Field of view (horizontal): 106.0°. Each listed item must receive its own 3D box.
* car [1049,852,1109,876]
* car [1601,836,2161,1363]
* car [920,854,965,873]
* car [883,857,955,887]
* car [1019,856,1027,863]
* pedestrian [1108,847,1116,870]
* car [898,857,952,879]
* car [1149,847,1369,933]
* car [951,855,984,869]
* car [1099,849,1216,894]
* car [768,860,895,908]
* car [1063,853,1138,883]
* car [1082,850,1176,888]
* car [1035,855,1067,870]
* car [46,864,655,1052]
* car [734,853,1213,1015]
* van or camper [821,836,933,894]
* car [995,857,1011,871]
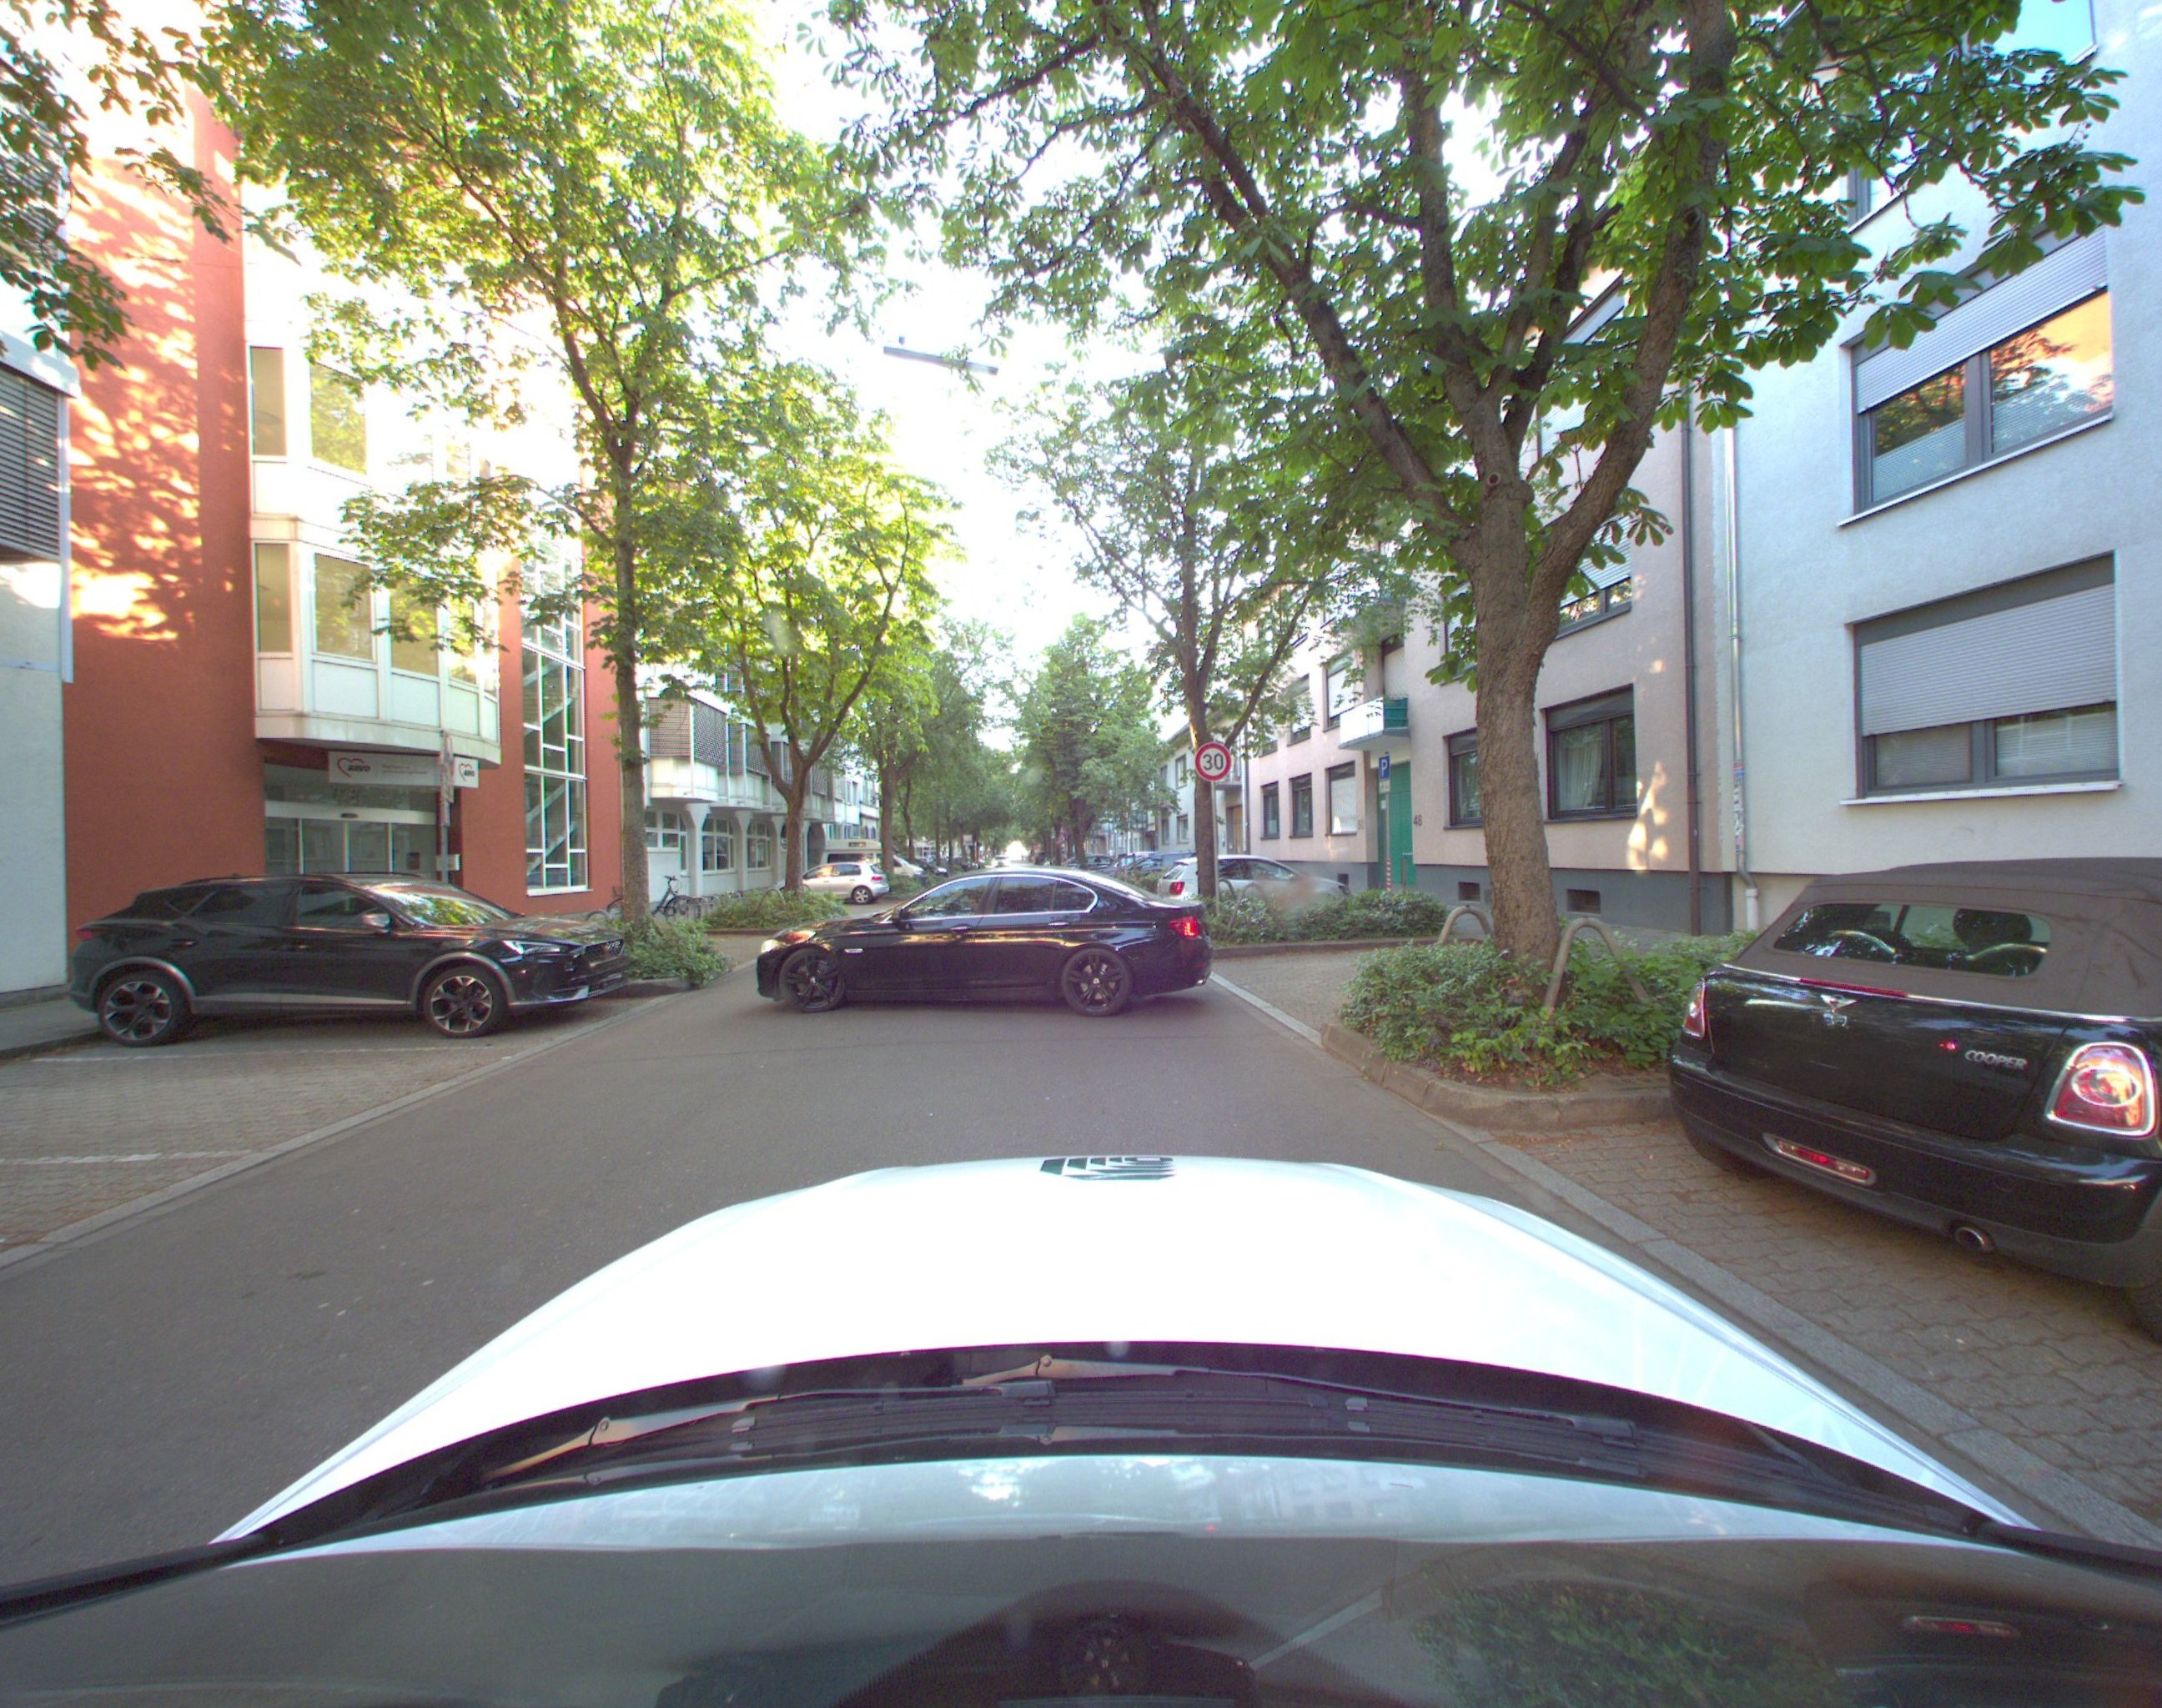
[{"bbox_3d":[-0.162,0.660,56.985,3.963,1.527,1.781,-2,0,-6],"label":"car"},{"bbox_3d":[4.351,0.627,3.265,3.608,1.363,1.660,-2,0,-8],"label":"car"},{"bbox_3d":[-13.039,0.869,76.633,3.959,1.619,1.783,-2,0,-4],"label":"car"},{"bbox_3d":[-9.583,1.046,48.420,3.960,1.619,1.783,-2,0,-4],"label":"car"},{"bbox_3d":[-13.543,1.175,190.665,1.819,1.530,3.995,-2,0,-4],"label":"car"},{"bbox_3d":[2.744,0.373,71.822,0.587,2.013,0.669,-1,0,-3],"label":"pedestrian"},{"bbox_3d":[-12.384,1.073,64.967,3.959,1.619,1.783,-2,0,-4],"label":"car"},{"bbox_3d":[3.440,0.671,16.116,3.904,1.476,1.661,-2,0,-7],"label":"car"},{"bbox_3d":[-14.307,1.009,103.050,3.959,1.619,1.783,-2,0,-4],"label":"car"},{"bbox_3d":[2.758,0.627,29.752,3.963,1.476,1.781,-2,0,-7],"label":"car"},{"bbox_3d":[-8.839,1.045,29.083,3.960,1.517,1.783,-2,0,-4],"label":"car"},{"bbox_3d":[1.028,0.742,45.081,3.962,1.527,1.782,-2,0,-5],"label":"car"},{"bbox_3d":[2.085,0.664,36.239,3.962,1.527,1.782,-2,0,-5],"label":"car"},{"bbox_3d":[-3.707,1.061,101.052,3.959,1.684,1.783,-2,0,-4],"label":"car"},{"bbox_3d":[-7.018,0.929,8.271,4.347,1.517,1.782,-2,0,-5],"label":"car"},{"bbox_3d":[-0.990,0.795,8.730,4.717,1.480,1.805,-2,0,8],"label":"car"},{"bbox_3d":[-9.283,0.486,37.417,4.656,2.478,1.997,-2,0,-5],"label":"van or camper"},{"bbox_3d":[-9.470,1.172,98.893,1.775,1.562,4.162,-1,0,-4],"label":"car"}]
